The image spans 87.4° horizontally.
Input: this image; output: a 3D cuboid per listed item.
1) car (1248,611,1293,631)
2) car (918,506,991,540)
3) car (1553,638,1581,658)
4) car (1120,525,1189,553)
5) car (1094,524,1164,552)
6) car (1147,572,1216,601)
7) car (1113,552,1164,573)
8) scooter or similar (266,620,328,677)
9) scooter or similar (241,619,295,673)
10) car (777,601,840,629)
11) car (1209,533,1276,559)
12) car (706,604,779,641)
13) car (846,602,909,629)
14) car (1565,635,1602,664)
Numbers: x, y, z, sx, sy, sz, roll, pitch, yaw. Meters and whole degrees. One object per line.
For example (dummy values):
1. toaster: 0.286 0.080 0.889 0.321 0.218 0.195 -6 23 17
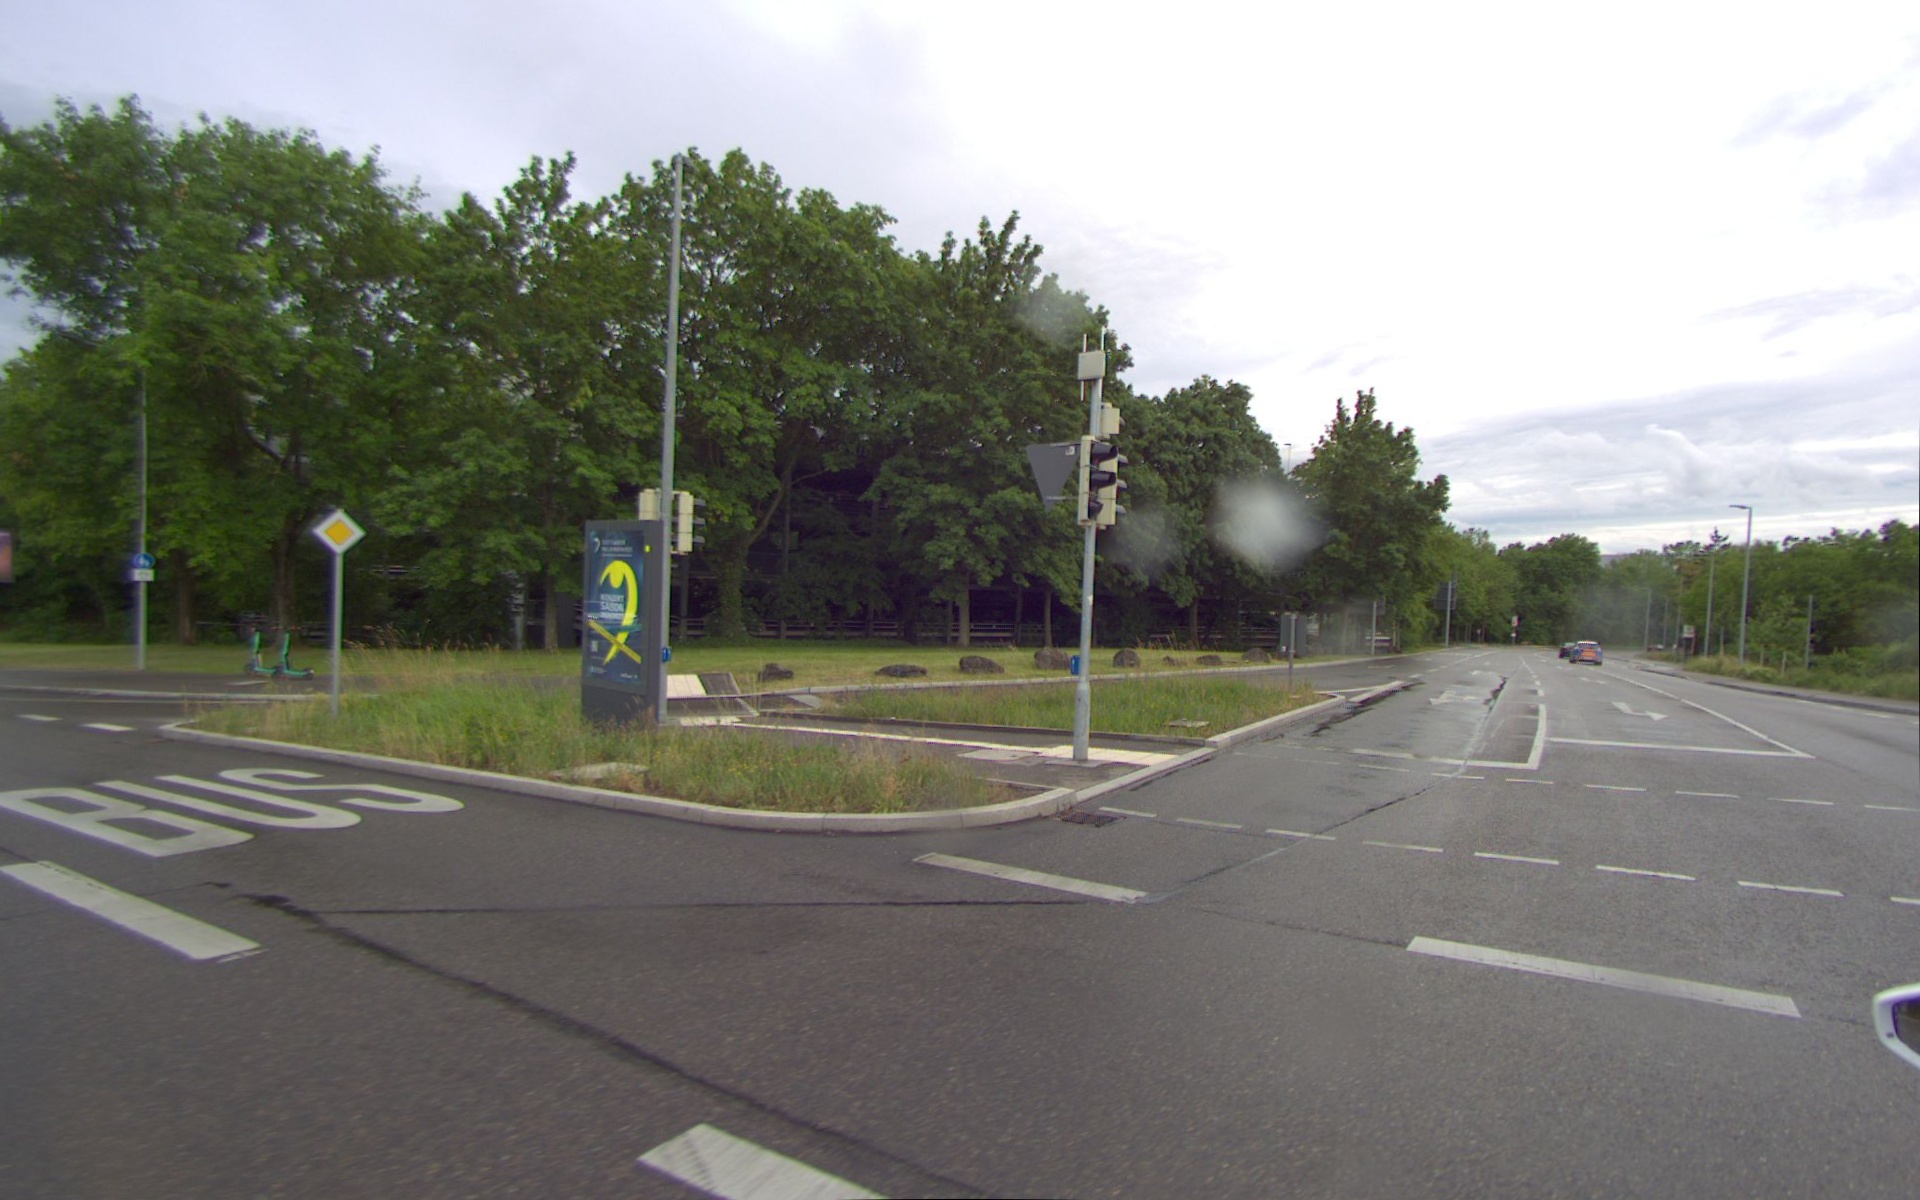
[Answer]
1. car: 26.893 1.804 87.091 1.573 1.539 3.435 3 0 -38
2. car: -0.332 -3.991 52.355 1.978 1.539 3.964 3 2 -32
3. car: 51.907 4.084 85.875 1.900 1.506 3.789 2 1 33
4. car: 12.000 -3.771 62.104 1.978 1.539 3.964 3 2 -32
5. car: 10.265 -3.799 61.205 1.978 1.539 3.964 3 2 -32
6. car: 13.960 -0.869 63.435 1.978 1.539 3.964 3 2 -32
7. car: 15.056 -3.169 84.817 1.980 1.539 3.961 3 -1 -34
8. scooter or similar: -15.309 1.097 23.191 1.331 1.276 0.549 0 0 24
9. scooter or similar: -16.520 1.084 23.979 1.203 1.276 0.517 0 0 24
10. car: -9.044 0.859 59.922 1.983 1.539 3.955 3 -1 -39
11. car: 18.938 -3.620 67.469 1.978 1.539 3.964 3 2 -32
12. car: -9.908 0.999 45.533 1.979 1.539 3.964 3 -1 -33
13. car: -5.160 0.932 62.354 1.983 1.539 3.955 3 -1 -39
14. car: 42.855 3.395 69.133 1.964 1.712 3.992 2 1 30
